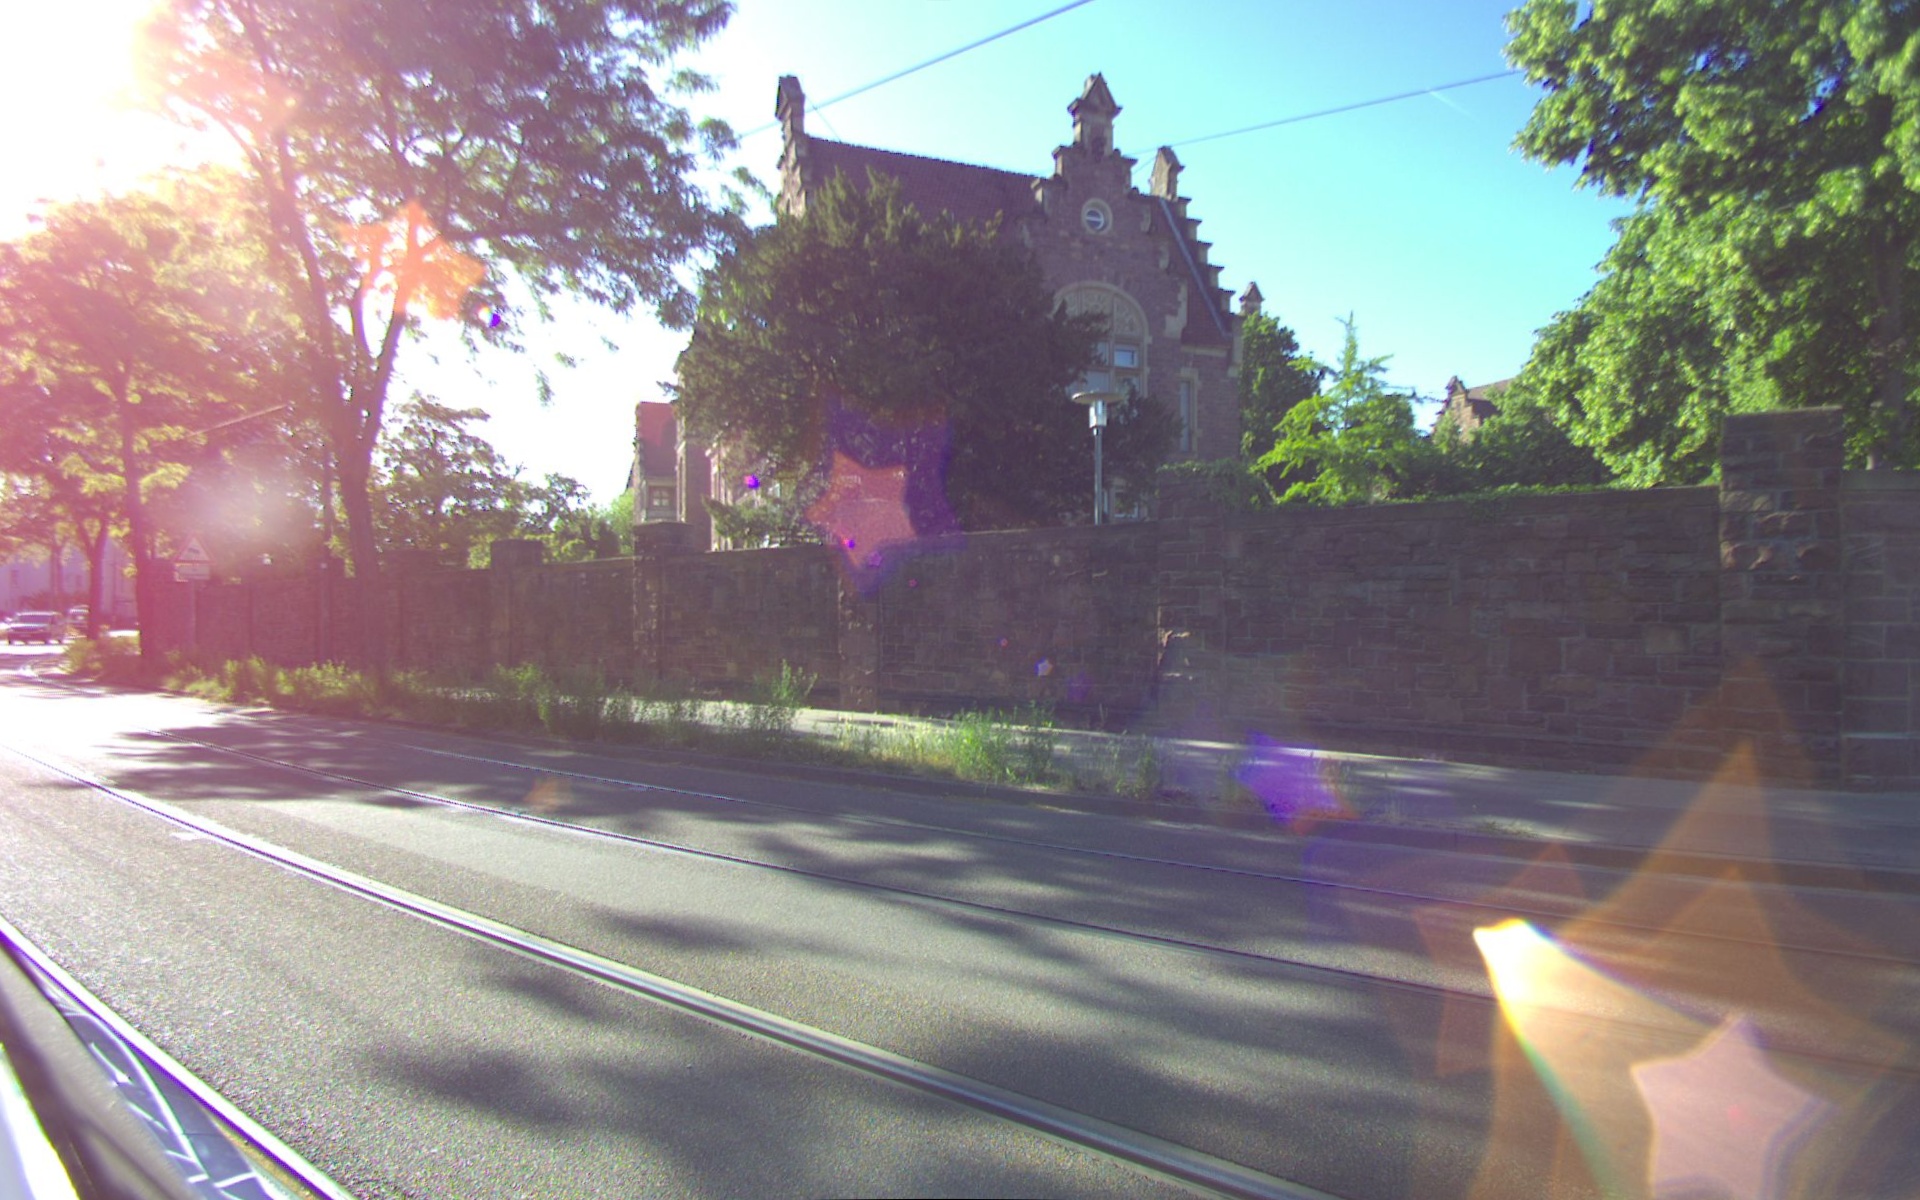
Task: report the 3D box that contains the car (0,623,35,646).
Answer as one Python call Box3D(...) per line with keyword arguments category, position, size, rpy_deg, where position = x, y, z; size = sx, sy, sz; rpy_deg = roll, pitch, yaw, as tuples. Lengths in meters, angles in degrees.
Box3D(category="car", position=(-68.897, 2.507, 73.845), size=(1.969, 1.560, 4.005), rpy_deg=(0, -1, -41))

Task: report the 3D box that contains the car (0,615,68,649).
Box3D(category="car", position=(-52.490, 1.780, 57.434), size=(1.846, 1.830, 4.982), rpy_deg=(0, -1, -30))
